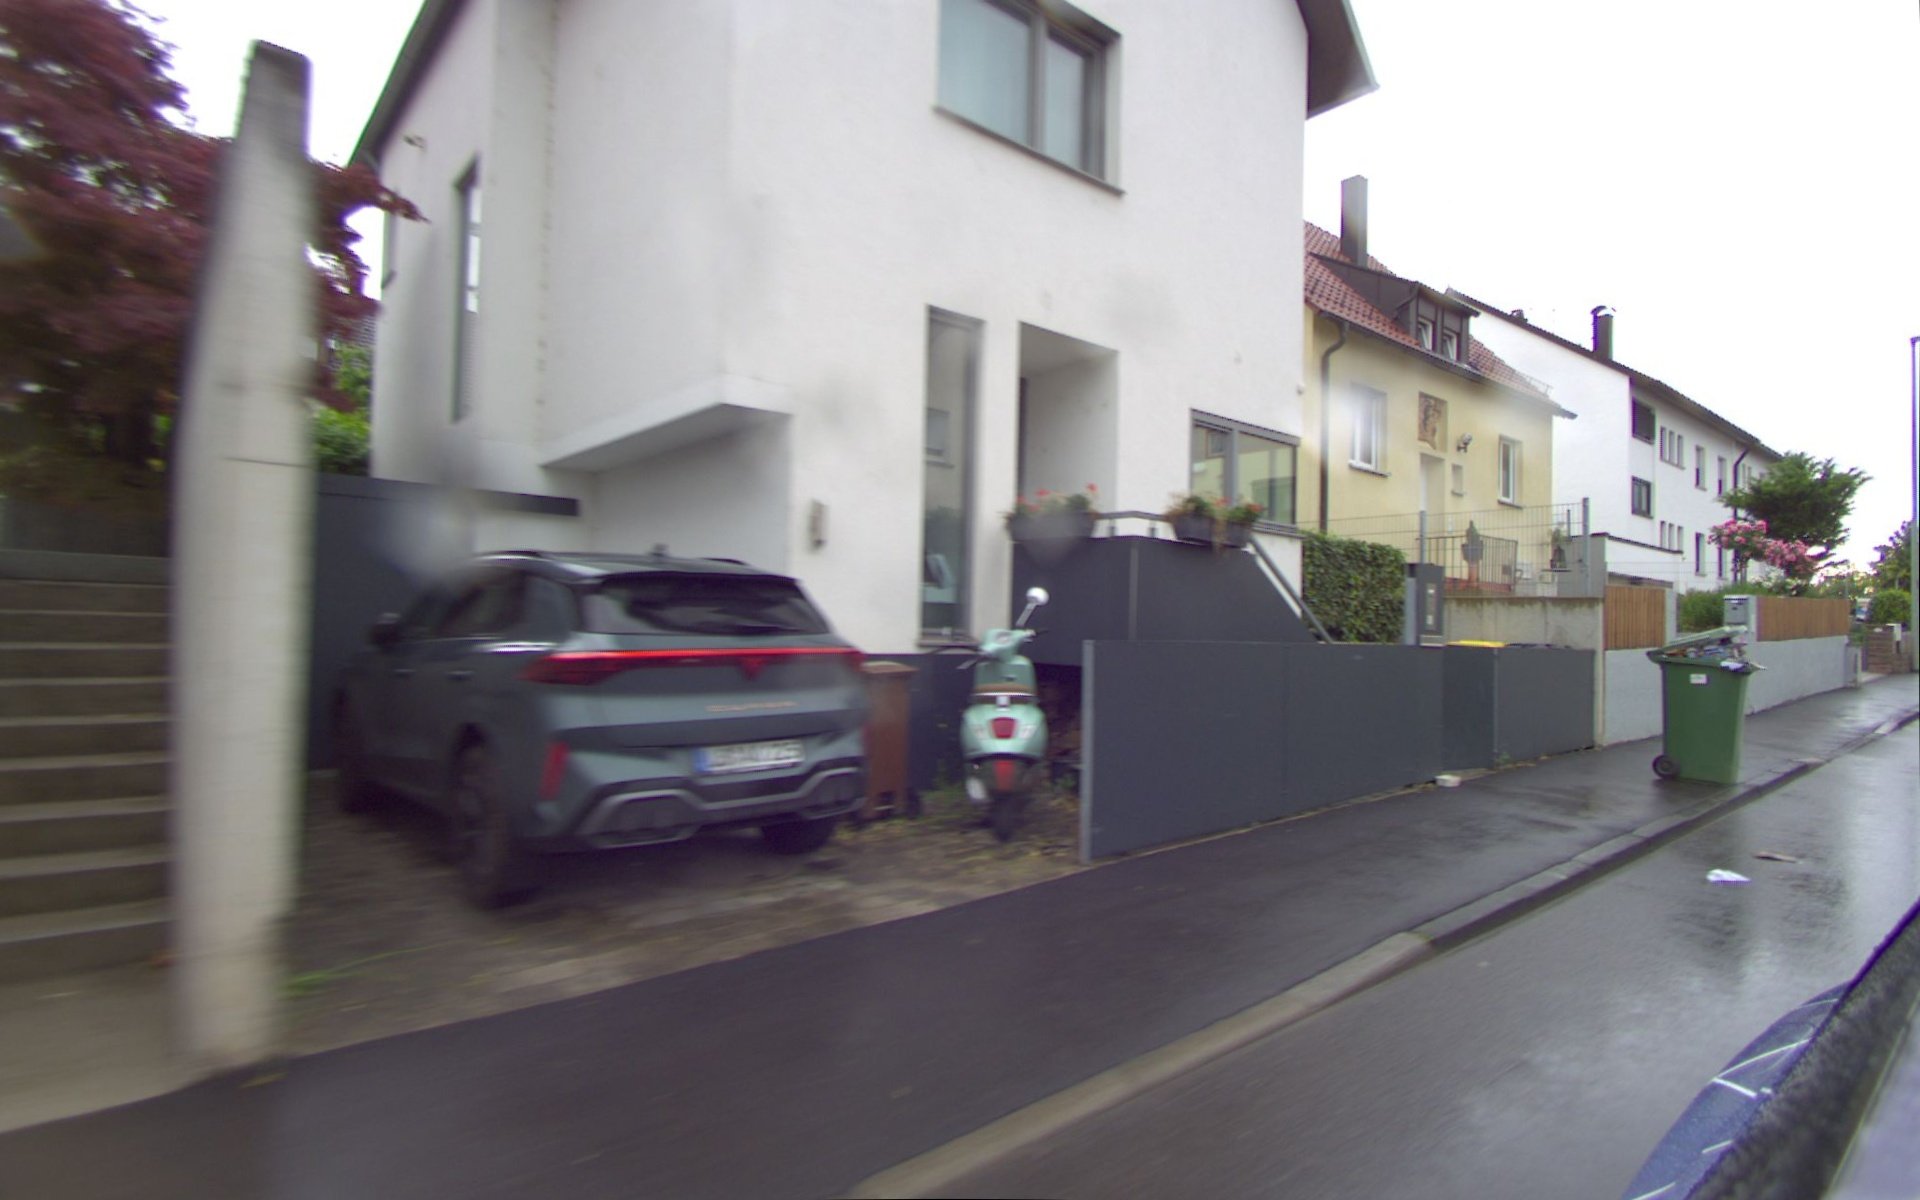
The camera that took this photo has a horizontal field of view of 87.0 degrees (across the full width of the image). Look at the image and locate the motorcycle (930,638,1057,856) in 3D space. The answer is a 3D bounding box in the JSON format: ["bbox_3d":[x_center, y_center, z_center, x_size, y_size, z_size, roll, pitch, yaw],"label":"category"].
[{"bbox_3d":[0.221,0.769,5.760,0.547,1.025,1.147,1,1,11],"label":"motorcycle"}]

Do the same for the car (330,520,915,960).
[{"bbox_3d":[-2.088,0.453,5.623,1.788,1.602,3.592,0,2,-42],"label":"car"}]

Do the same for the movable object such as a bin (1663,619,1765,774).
[{"bbox_3d":[6.202,0.765,8.330,0.528,1.201,0.568,1,0,-42],"label":"movable object such as a bin"}]
